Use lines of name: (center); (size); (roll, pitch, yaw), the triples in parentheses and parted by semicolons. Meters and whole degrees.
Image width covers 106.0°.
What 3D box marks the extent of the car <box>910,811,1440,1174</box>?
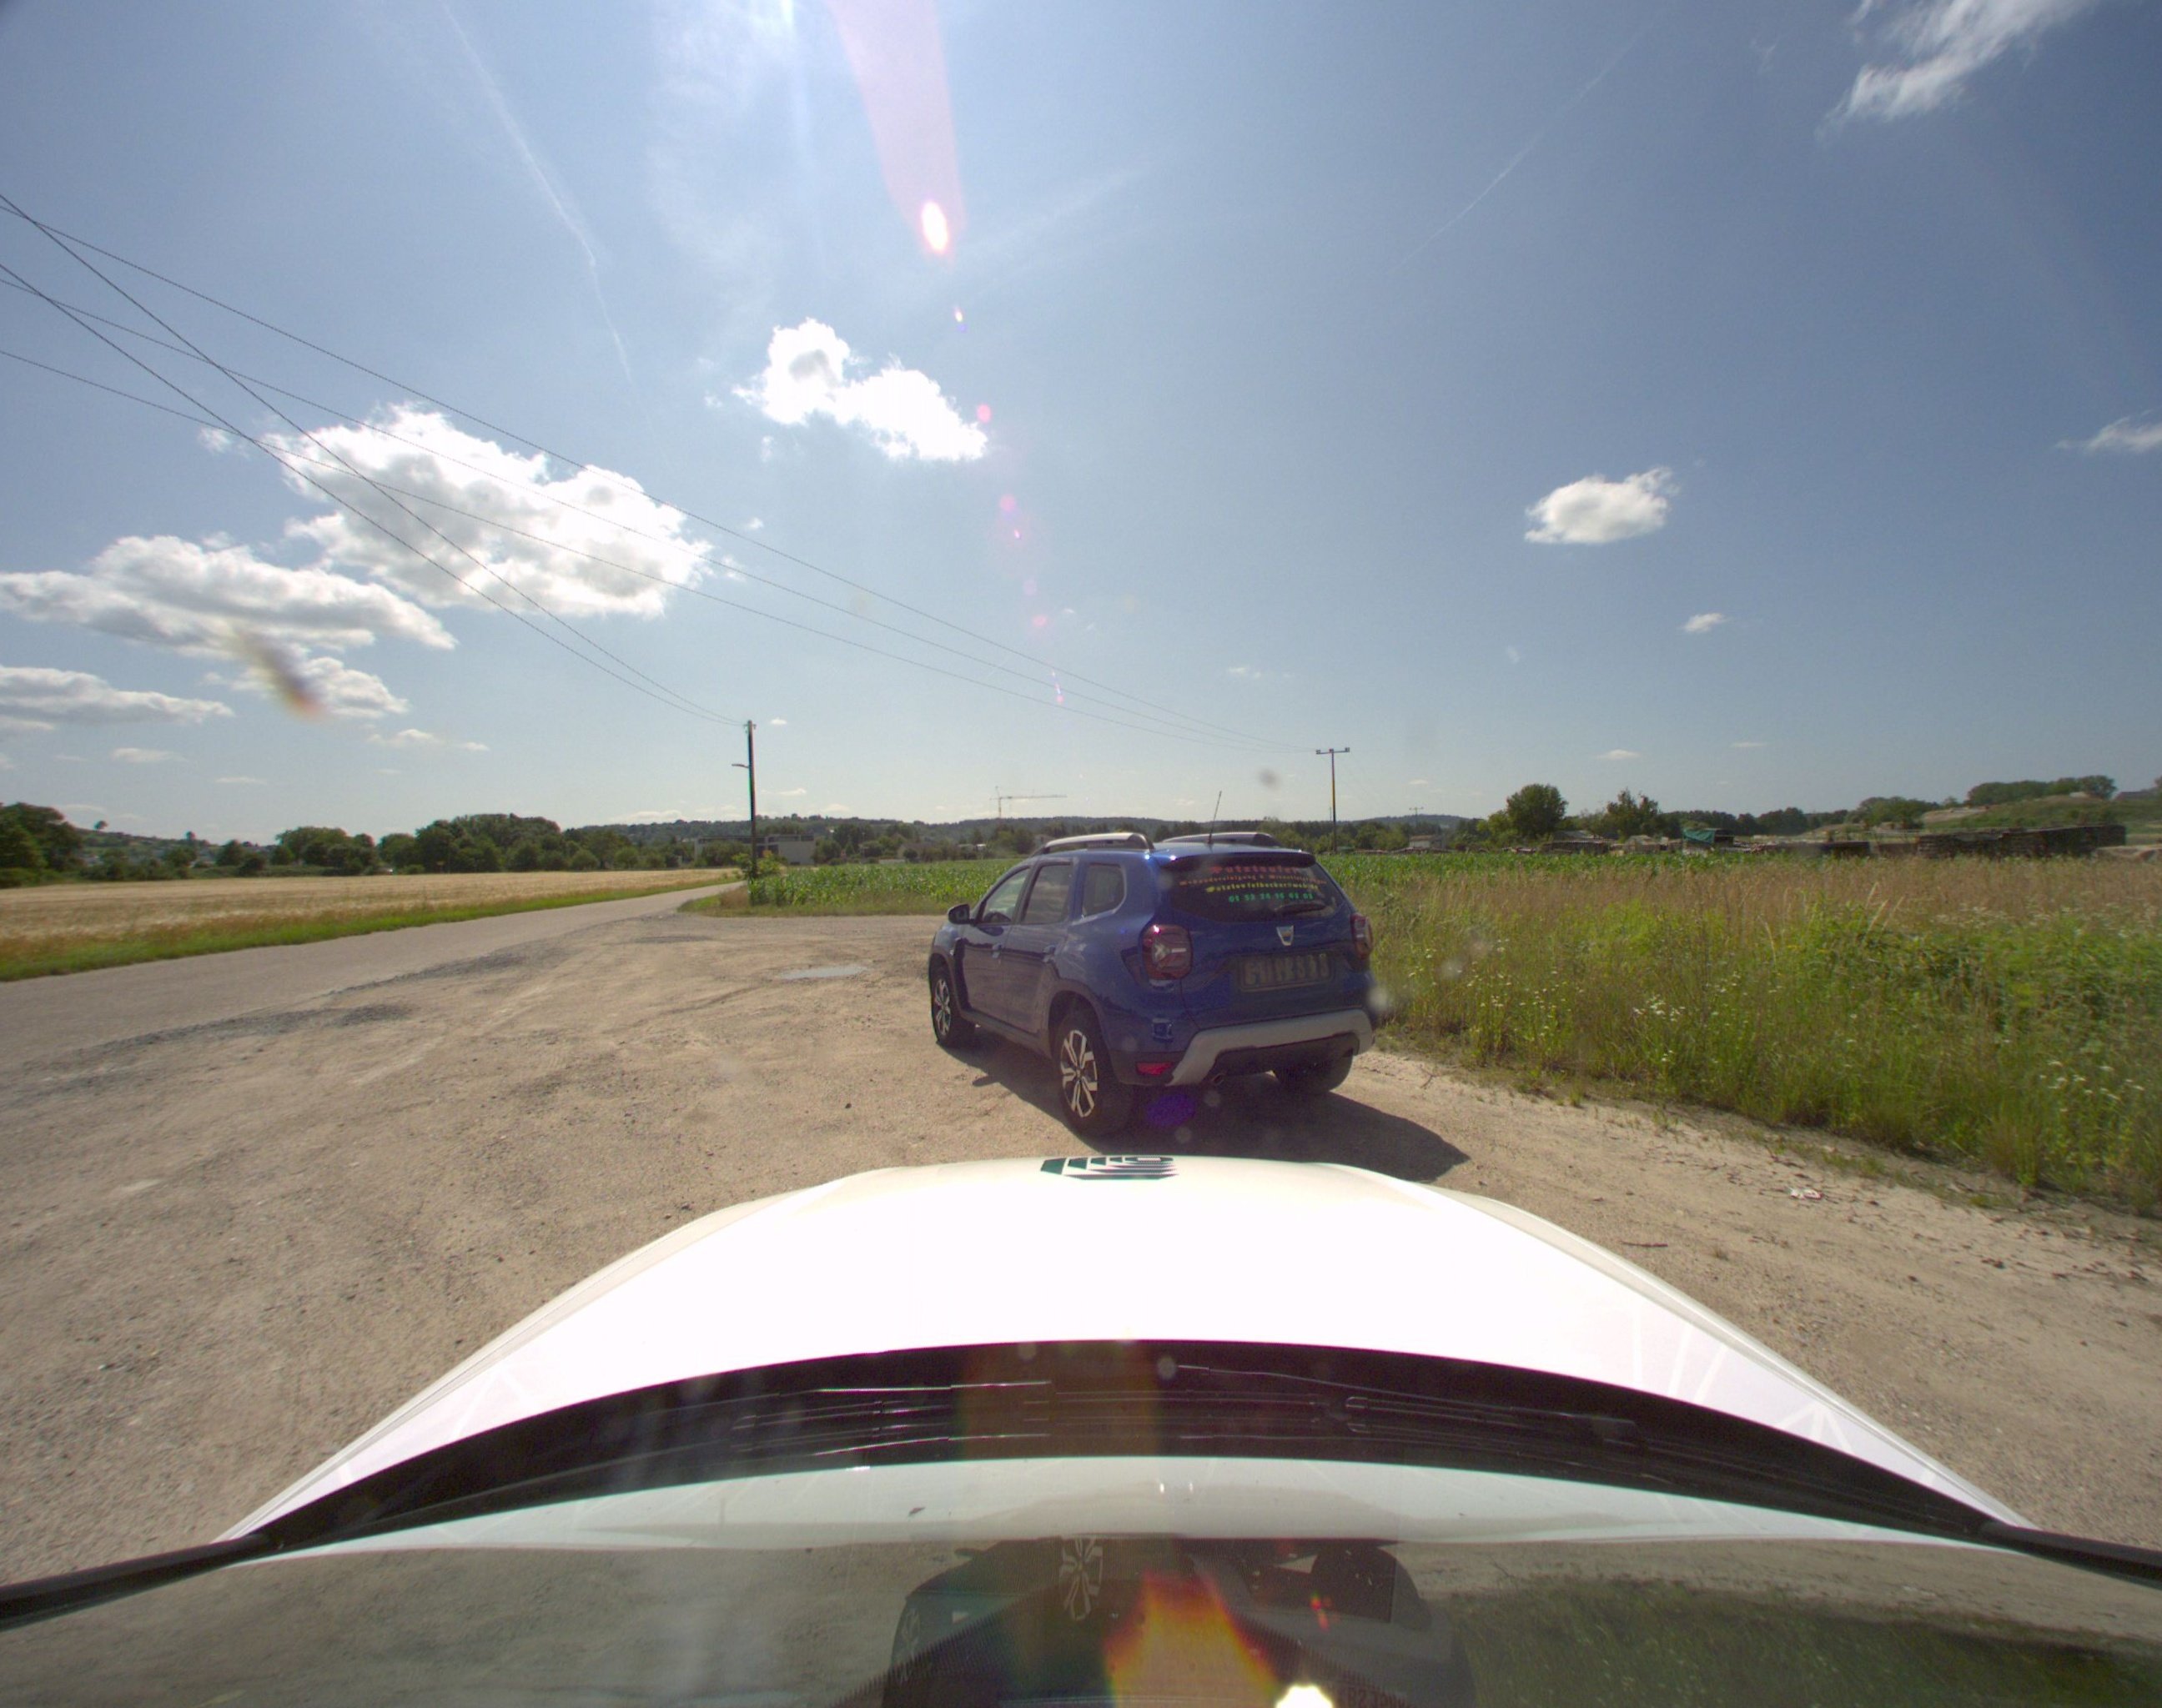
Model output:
car: (0.195, 0.682, 6.152); (1.868, 1.661, 4.420); (-1, -1, -26)
